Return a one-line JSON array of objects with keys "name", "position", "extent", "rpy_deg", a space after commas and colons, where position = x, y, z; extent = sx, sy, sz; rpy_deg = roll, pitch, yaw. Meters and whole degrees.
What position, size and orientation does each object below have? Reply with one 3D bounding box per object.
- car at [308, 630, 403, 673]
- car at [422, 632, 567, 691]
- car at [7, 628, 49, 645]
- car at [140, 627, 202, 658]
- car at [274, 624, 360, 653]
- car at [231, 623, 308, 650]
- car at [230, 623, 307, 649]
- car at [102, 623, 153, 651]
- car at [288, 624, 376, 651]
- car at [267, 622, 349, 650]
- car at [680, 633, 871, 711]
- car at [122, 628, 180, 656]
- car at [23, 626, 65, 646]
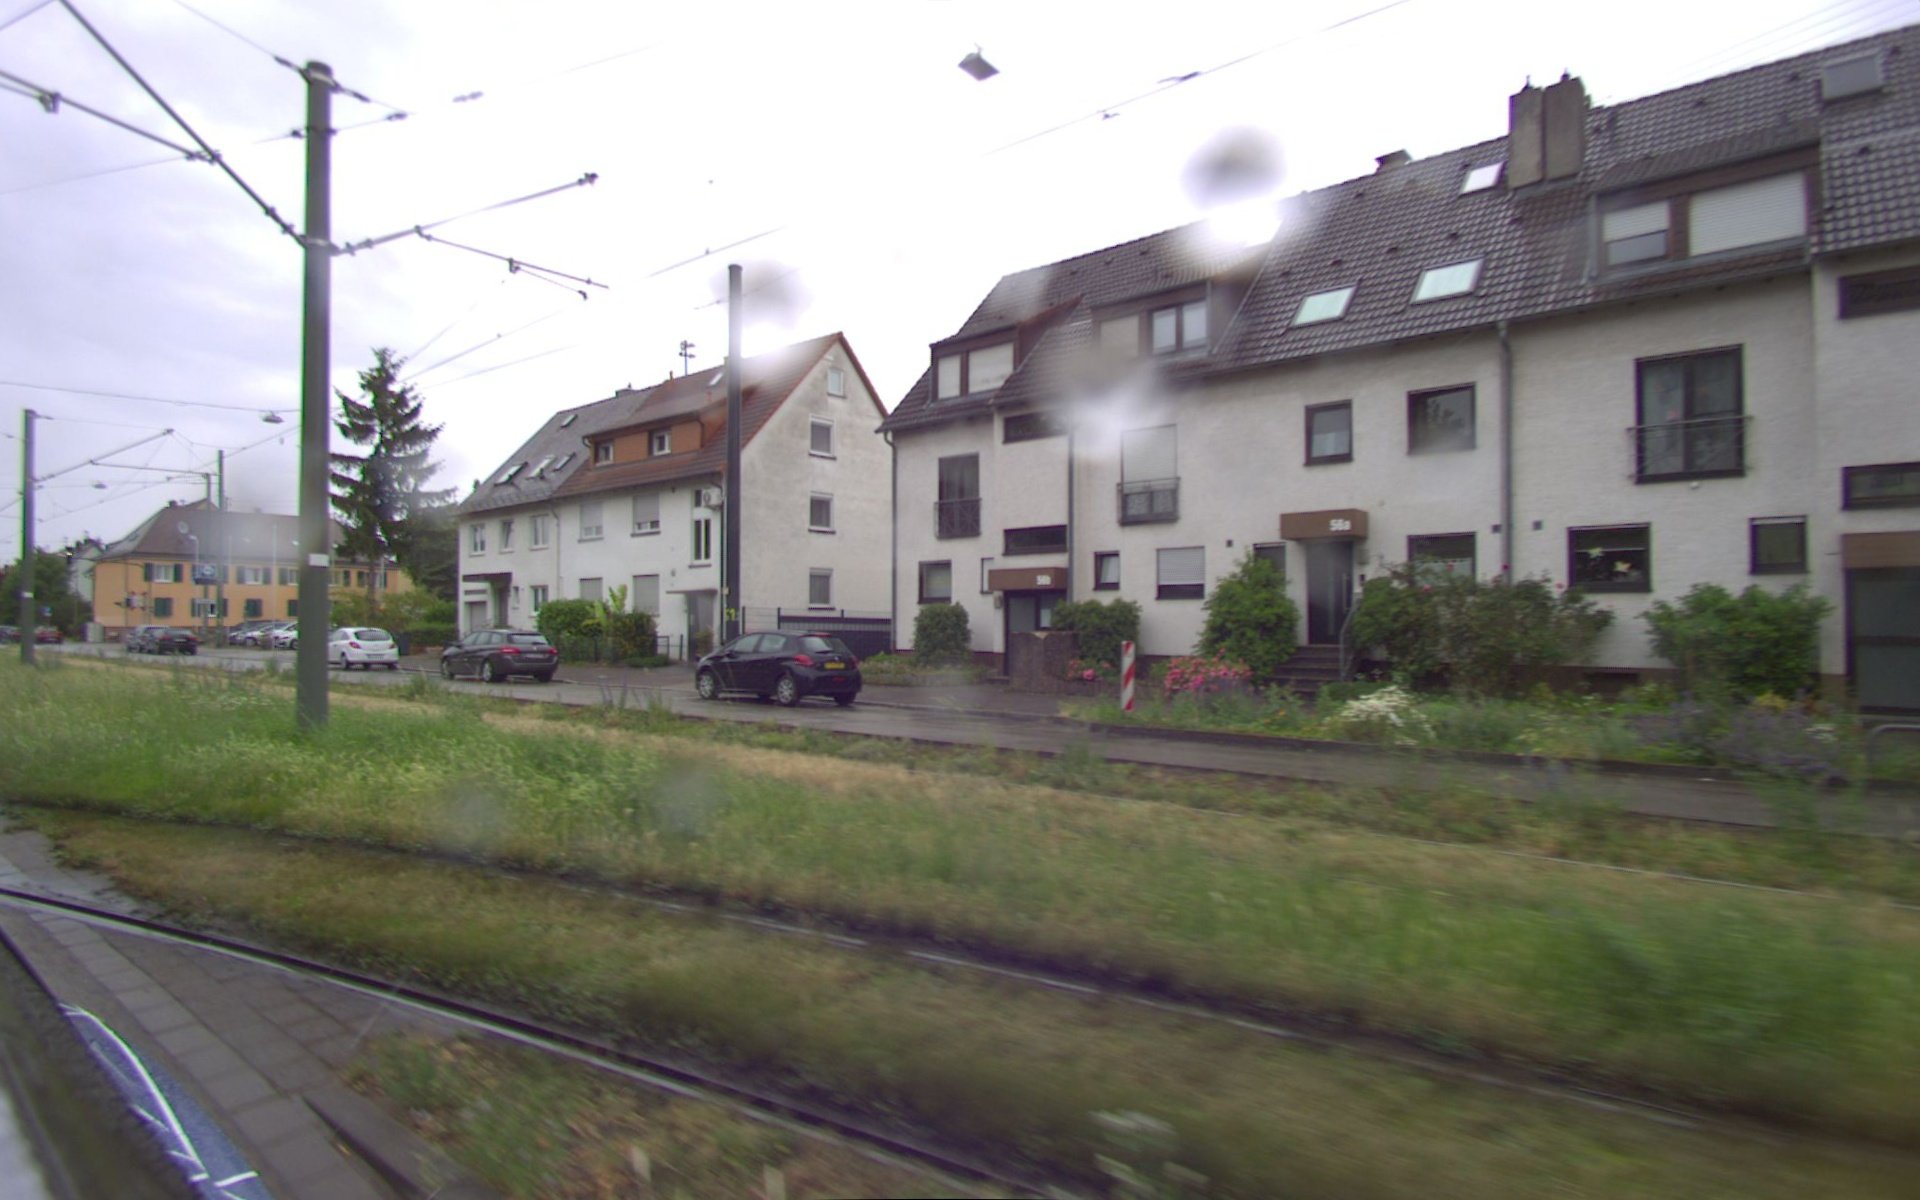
[{"name": "car", "position": [-21.625, 1.801, 36.154], "extent": [3.997, 1.451, 1.693], "rpy_deg": [-2, -3, 40]}, {"name": "car", "position": [-13.267, 1.690, 28.732], "extent": [4.752, 1.543, 1.867], "rpy_deg": [-1, -3, 40]}, {"name": "car", "position": [-77.889, 3.033, 84.556], "extent": [4.074, 1.442, 2.070], "rpy_deg": [-1, -3, 40]}, {"name": "car", "position": [-42.437, 2.266, 54.428], "extent": [3.998, 1.602, 1.887], "rpy_deg": [-1, -3, 41]}, {"name": "car", "position": [-37.875, 2.231, 59.633], "extent": [1.913, 1.607, 3.944], "rpy_deg": [-2, -1, 42]}, {"name": "car", "position": [-43.139, 2.249, 63.245], "extent": [3.934, 1.607, 1.918], "rpy_deg": [0, -1, -36]}, {"name": "car", "position": [-44.592, 2.320, 65.376], "extent": [3.931, 1.607, 1.919], "rpy_deg": [0, -1, -30]}, {"name": "car", "position": [-52.408, 2.301, 63.664], "extent": [4.000, 1.670, 1.972], "rpy_deg": [-1, -1, 43]}, {"name": "car", "position": [-36.031, 2.133, 58.104], "extent": [1.913, 1.475, 3.944], "rpy_deg": [-2, -1, 42]}, {"name": "car", "position": [-39.806, 2.159, 61.816], "extent": [3.938, 1.607, 1.916], "rpy_deg": [0, -1, -42]}, {"name": "car", "position": [-3.810, 1.397, 20.570], "extent": [3.935, 1.437, 1.754], "rpy_deg": [-2, -3, 41]}, {"name": "car", "position": [-45.976, 2.346, 57.487], "extent": [3.998, 1.541, 1.857], "rpy_deg": [-1, -3, 41]}, {"name": "car", "position": [-71.346, 2.798, 78.793], "extent": [4.074, 1.442, 1.861], "rpy_deg": [-1, -3, 40]}]
